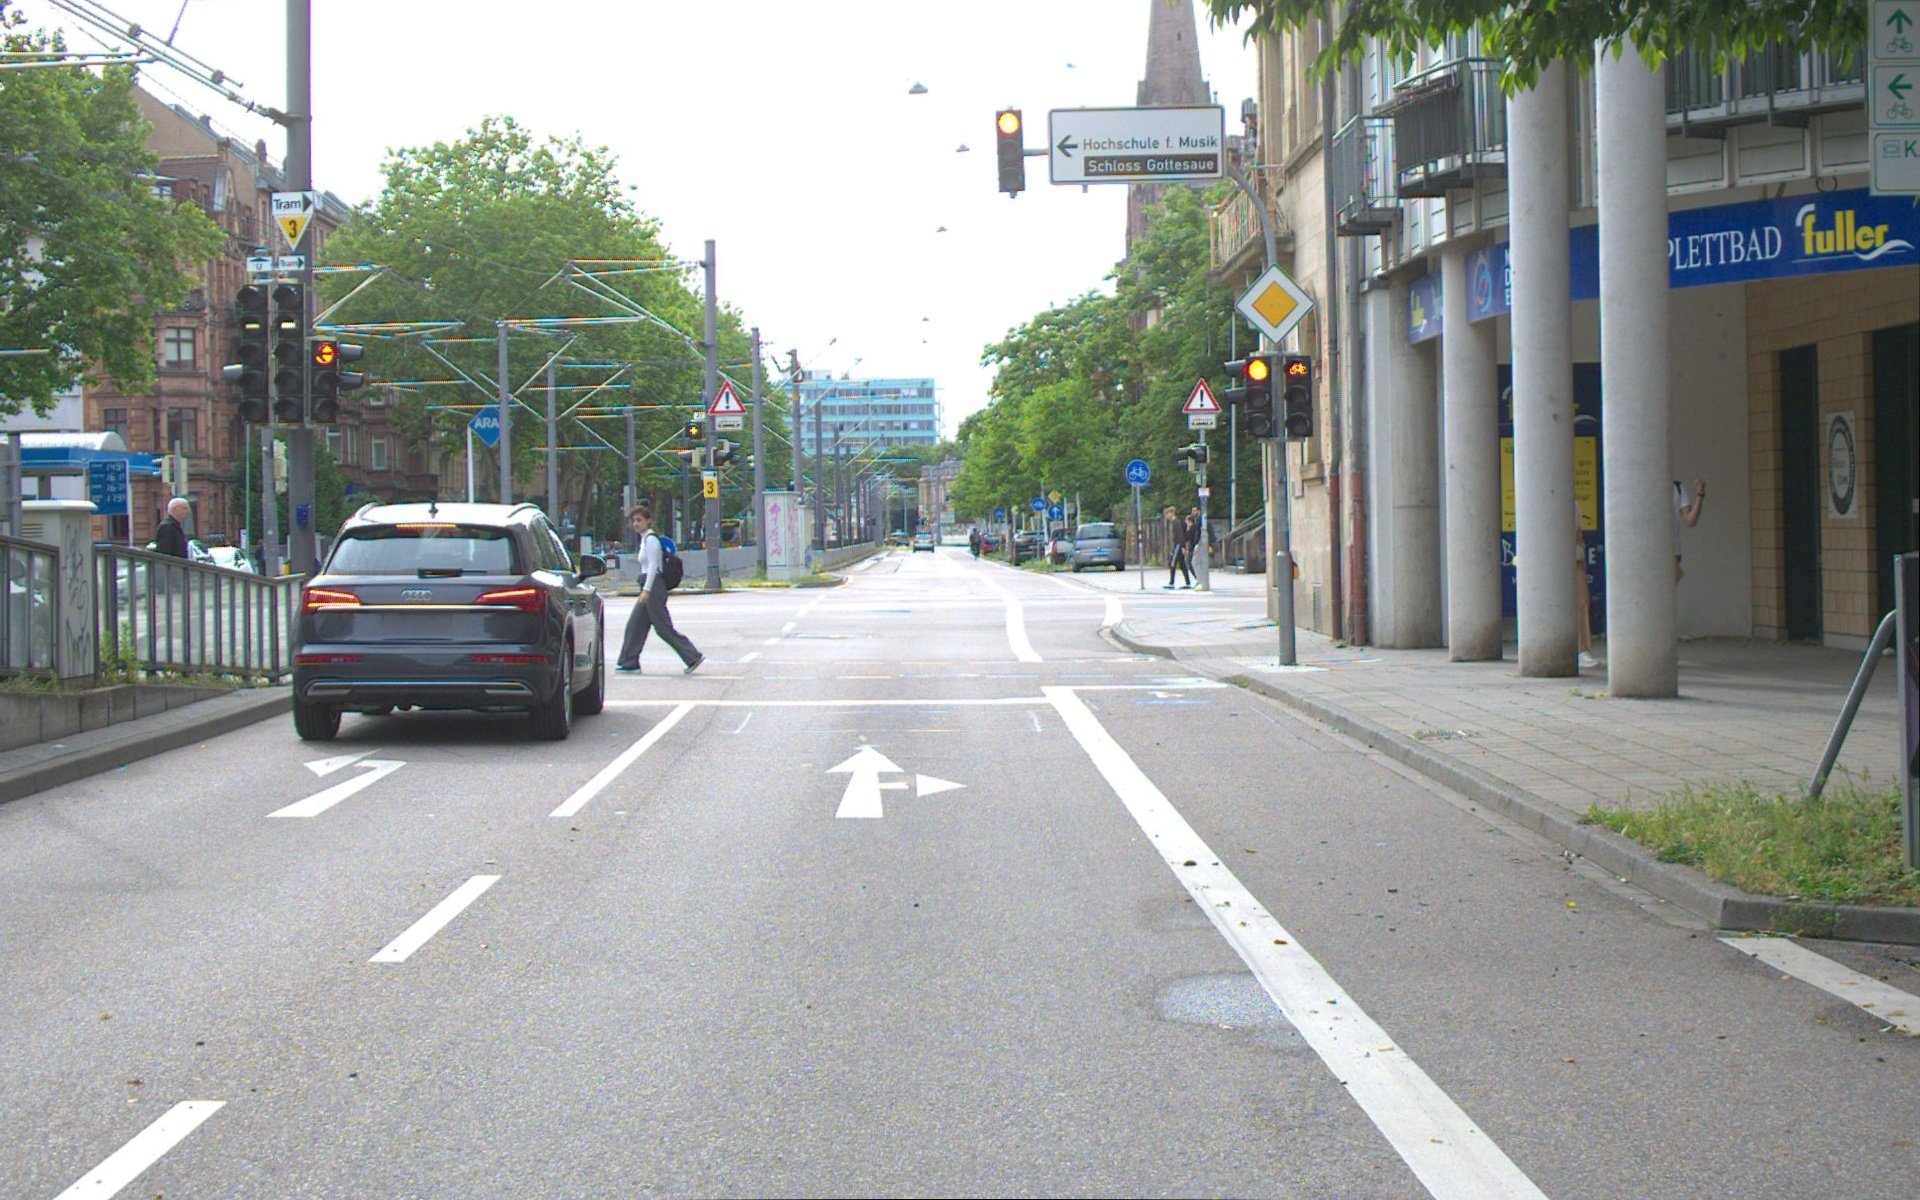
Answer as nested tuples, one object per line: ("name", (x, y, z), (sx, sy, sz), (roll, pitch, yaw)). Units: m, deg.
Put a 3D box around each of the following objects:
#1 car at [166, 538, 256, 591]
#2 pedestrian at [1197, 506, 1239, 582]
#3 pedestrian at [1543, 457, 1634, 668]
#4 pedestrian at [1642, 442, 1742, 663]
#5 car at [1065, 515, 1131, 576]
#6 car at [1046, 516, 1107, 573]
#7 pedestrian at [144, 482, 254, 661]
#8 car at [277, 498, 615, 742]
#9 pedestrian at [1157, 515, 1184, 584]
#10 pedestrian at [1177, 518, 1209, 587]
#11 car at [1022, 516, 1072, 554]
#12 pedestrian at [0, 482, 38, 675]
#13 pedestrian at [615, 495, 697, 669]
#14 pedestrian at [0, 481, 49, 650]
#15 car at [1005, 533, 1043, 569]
("car", (-22.454, -1.066, 103.196), (1.894, 1.552, 3.837), (0, 1, -1))
("pedestrian", (5.591, -1.209, 74.528), (0.850, 1.648, 0.508), (0, 1, -2))
("pedestrian", (5.480, -0.332, 29.986), (0.615, 1.799, 0.737), (-2, 1, 1))
("pedestrian", (6.382, -0.415, 29.991), (0.675, 1.884, 0.737), (-2, 1, 1))
("car", (4.569, -1.820, 114.236), (1.993, 2.007, 4.000), (0, 1, -1))
("car", (4.177, -1.995, 123.669), (1.993, 2.007, 4.000), (0, 1, -1))
("pedestrian", (-7.697, -0.296, 34.761), (0.917, 1.778, 0.646), (1, 1, 37))
("car", (-3.610, 0.090, 24.865), (1.880, 1.596, 4.358), (0, 1, -1))
("pedestrian", (4.700, -1.119, 76.720), (0.545, 1.531, 0.466), (0, 1, -5))
("pedestrian", (5.165, -1.053, 76.215), (0.653, 1.531, 0.466), (0, 1, -5))
("car", (3.833, -2.874, 152.475), (1.993, 1.602, 4.164), (-2, 1, -1))
("pedestrian", (-9.184, -0.196, 31.949), (1.130, 1.772, 0.628), (-1, 1, -18))
("pedestrian", (-2.918, -0.176, 33.086), (0.728, 1.656, 0.756), (0, 1, -1))
("pedestrian", (-9.549, -0.342, 33.887), (0.993, 1.647, 0.628), (0, 1, -28))
("car", (3.641, -2.814, 196.311), (1.993, 2.007, 4.000), (0, 1, -1))
